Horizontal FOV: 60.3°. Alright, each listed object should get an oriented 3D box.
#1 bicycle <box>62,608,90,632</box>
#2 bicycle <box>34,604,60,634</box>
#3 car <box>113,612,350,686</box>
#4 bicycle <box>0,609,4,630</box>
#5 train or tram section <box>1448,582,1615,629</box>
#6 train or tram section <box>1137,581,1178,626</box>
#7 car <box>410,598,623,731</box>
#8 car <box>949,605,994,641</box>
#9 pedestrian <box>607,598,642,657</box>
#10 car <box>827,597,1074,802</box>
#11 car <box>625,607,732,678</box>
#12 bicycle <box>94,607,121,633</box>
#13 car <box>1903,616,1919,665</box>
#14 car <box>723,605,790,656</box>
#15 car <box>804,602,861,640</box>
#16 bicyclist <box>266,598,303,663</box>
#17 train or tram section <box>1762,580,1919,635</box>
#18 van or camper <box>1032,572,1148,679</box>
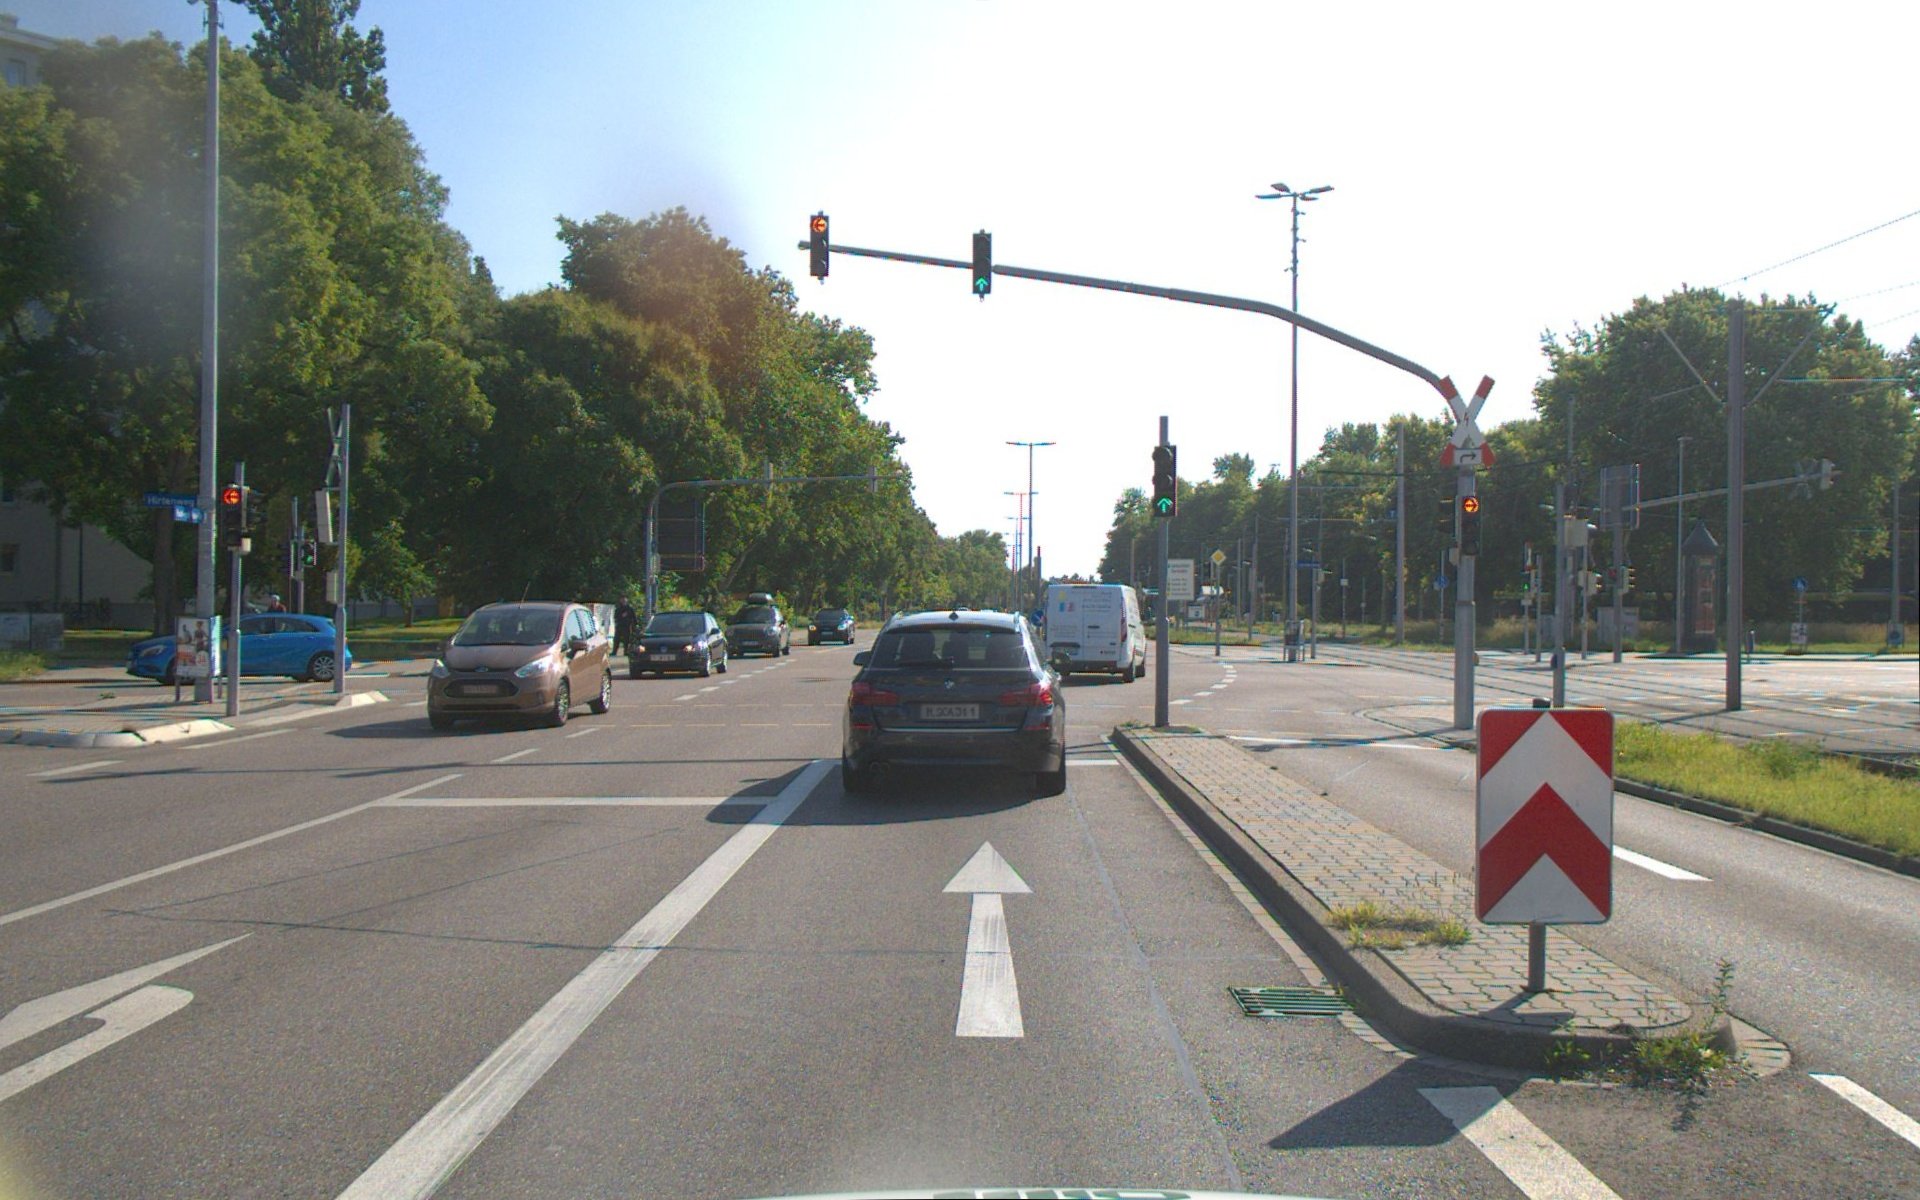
[{"bbox_3d":[-33.496,0.748,62.654,0.668,0.891,2.455,1,0,-34],"label":"bicycle"},{"bbox_3d":[-34.200,0.711,61.921,0.606,1.085,1.892,2,-2,-36],"label":"bicycle"},{"bbox_3d":[-14.971,0.989,34.072,4.199,1.439,1.762,1,-1,-37],"label":"car"},{"bbox_3d":[-35.776,0.719,61.189,0.578,0.721,2.212,1,0,-34],"label":"bicycle"},{"bbox_3d":[45.188,0.417,130.975,12.173,3.642,3.047,0,0,32],"label":"train or tram section"},{"bbox_3d":[17.000,0.374,142.961,2.737,3.682,12.961,1,-1,4],"label":"train or tram section"},{"bbox_3d":[-5.832,0.793,22.236,1.709,1.589,4.000,-1,0,1],"label":"car"},{"bbox_3d":[0.516,0.943,69.258,1.791,1.456,4.732,-1,0,2],"label":"car"},{"bbox_3d":[-10.294,0.824,50.821,0.798,1.782,0.932,1,0,5],"label":"pedestrian"},{"bbox_3d":[0.014,0.763,14.563,1.863,1.532,4.066,0,0,2],"label":"car"},{"bbox_3d":[-6.297,0.918,37.392,1.850,1.500,4.098,0,0,-2],"label":"car"},{"bbox_3d":[-32.620,0.757,63.267,0.662,0.936,2.378,1,0,-34],"label":"bicycle"},{"bbox_3d":[33.495,1.310,54.447,4.791,1.590,2.026,0,0,-28],"label":"car"},{"bbox_3d":[-6.481,0.953,52.973,1.752,1.547,3.998,0,0,-2],"label":"car"},{"bbox_3d":[-5.811,0.929,75.871,1.947,1.688,4.387,0,0,4],"label":"car"},{"bbox_3d":[-16.433,0.738,40.257,0.594,1.588,0.603,0,-1,6],"label":"bicyclist"},{"bbox_3d":[62.401,0.527,115.154,3.016,3.642,12.090,1,0,-33],"label":"train or tram section"},{"bbox_3d":[2.871,0.523,35.539,1.951,2.133,4.602,0,0,11],"label":"van or camper"}]
